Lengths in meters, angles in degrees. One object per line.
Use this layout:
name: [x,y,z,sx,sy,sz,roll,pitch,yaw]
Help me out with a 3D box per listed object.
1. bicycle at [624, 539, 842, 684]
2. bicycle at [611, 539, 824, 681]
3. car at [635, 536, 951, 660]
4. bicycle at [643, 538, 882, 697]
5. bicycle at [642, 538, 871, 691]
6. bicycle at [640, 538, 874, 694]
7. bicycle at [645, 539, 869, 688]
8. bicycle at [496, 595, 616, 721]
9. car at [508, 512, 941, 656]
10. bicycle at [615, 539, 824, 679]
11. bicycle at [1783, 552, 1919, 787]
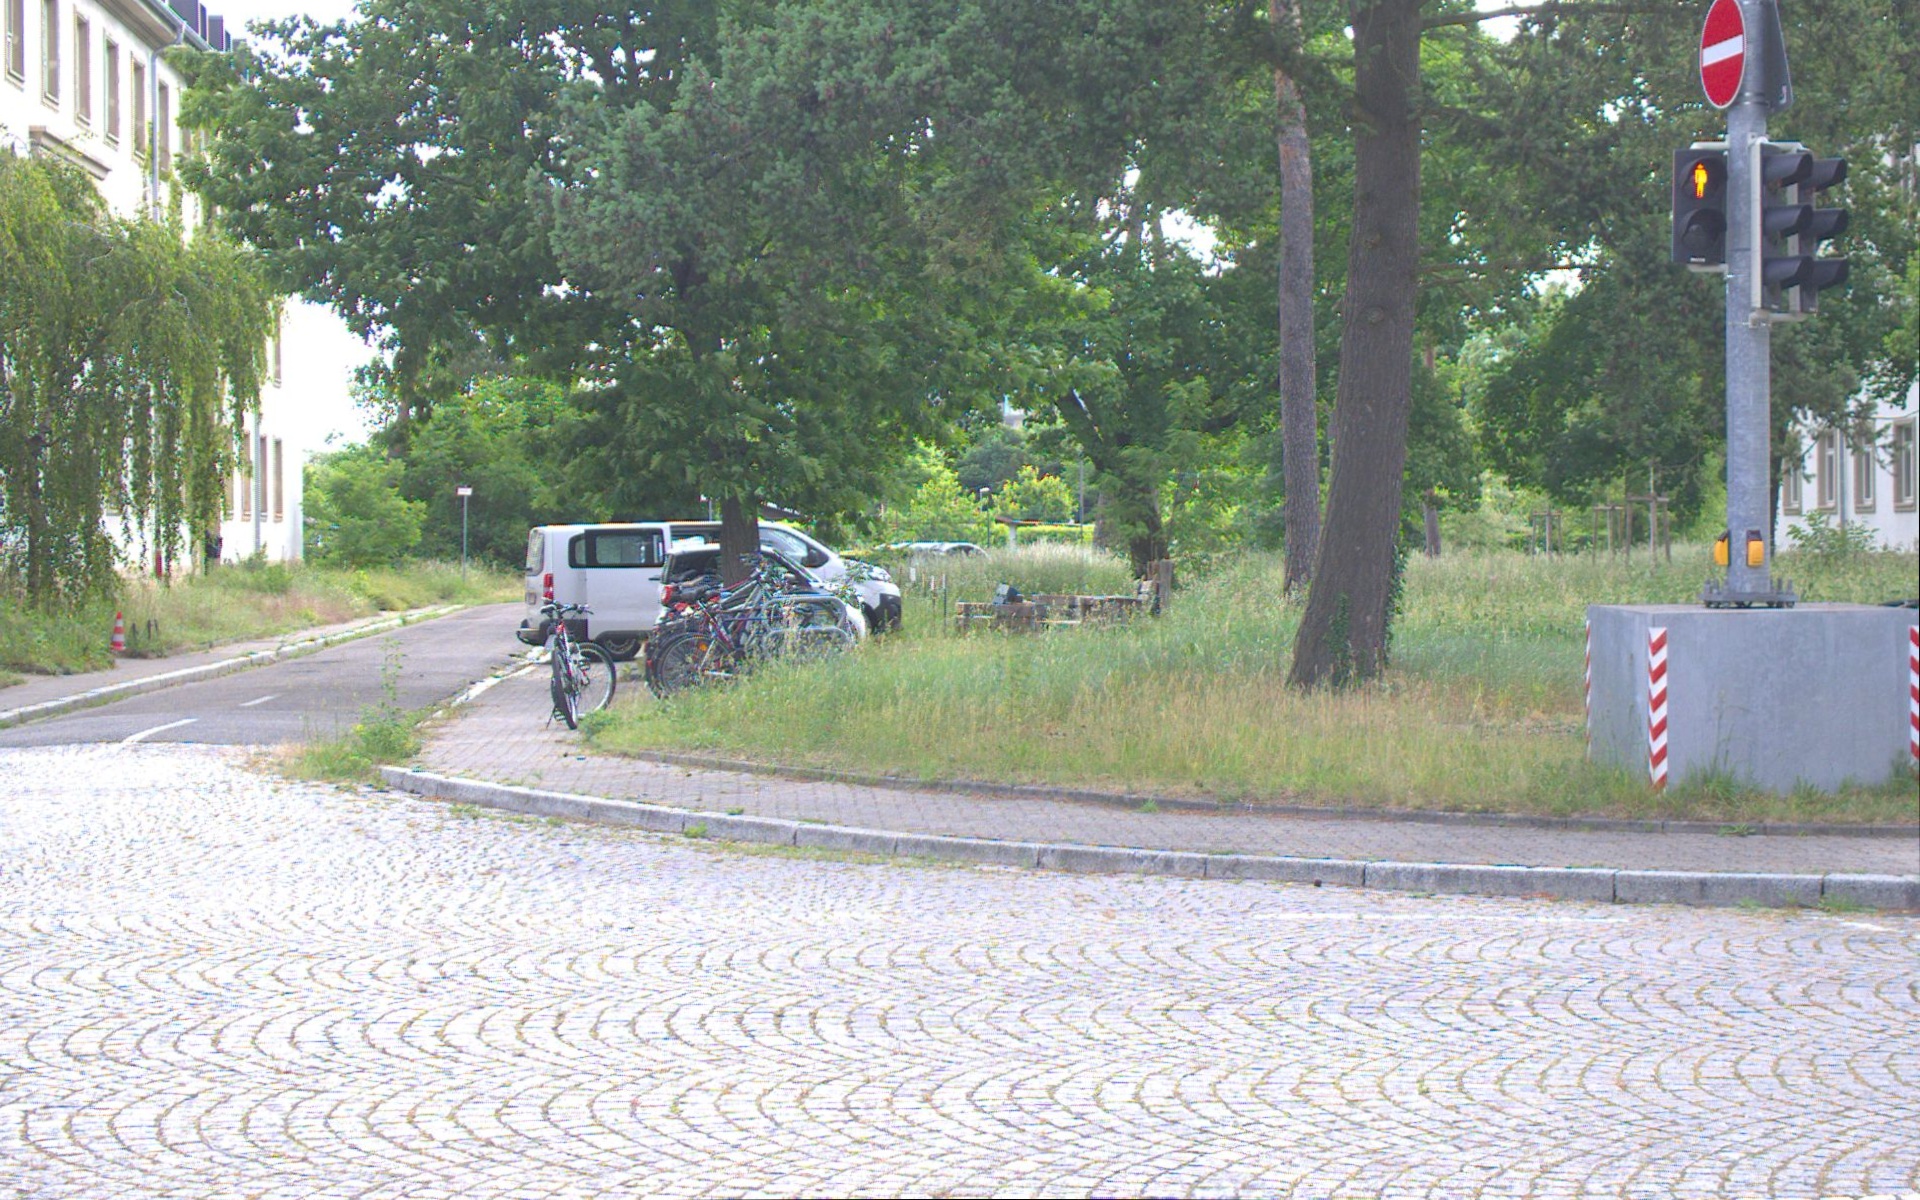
bicycle: [-2.177,0.104,33.074,2.069,1.373,0.620,0,1,-3]
bicycle: [-2.375,0.092,33.802,2.069,1.373,0.620,0,1,-3]
car: [-2.210,-0.051,44.718,3.931,1.539,2.001,0,1,-8]
bicycle: [-1.730,0.146,30.202,2.069,1.373,0.620,0,1,-3]
bicycle: [-1.859,0.129,31.492,2.069,1.373,0.620,0,1,-3]
bicycle: [-1.816,0.137,30.869,2.069,1.373,0.620,0,1,-3]
bicycle: [-1.901,0.120,32.288,2.069,1.373,0.620,0,1,-3]
bicycle: [-3.311,0.462,28.326,0.618,0.960,2.076,0,1,3]
car: [-3.315,-0.253,48.033,5.690,1.904,2.231,-1,1,-15]
bicycle: [-2.408,0.084,34.549,2.069,1.373,0.620,0,1,-3]
bicycle: [5.115,0.334,18.265,0.908,1.173,1.875,0,1,-4]
